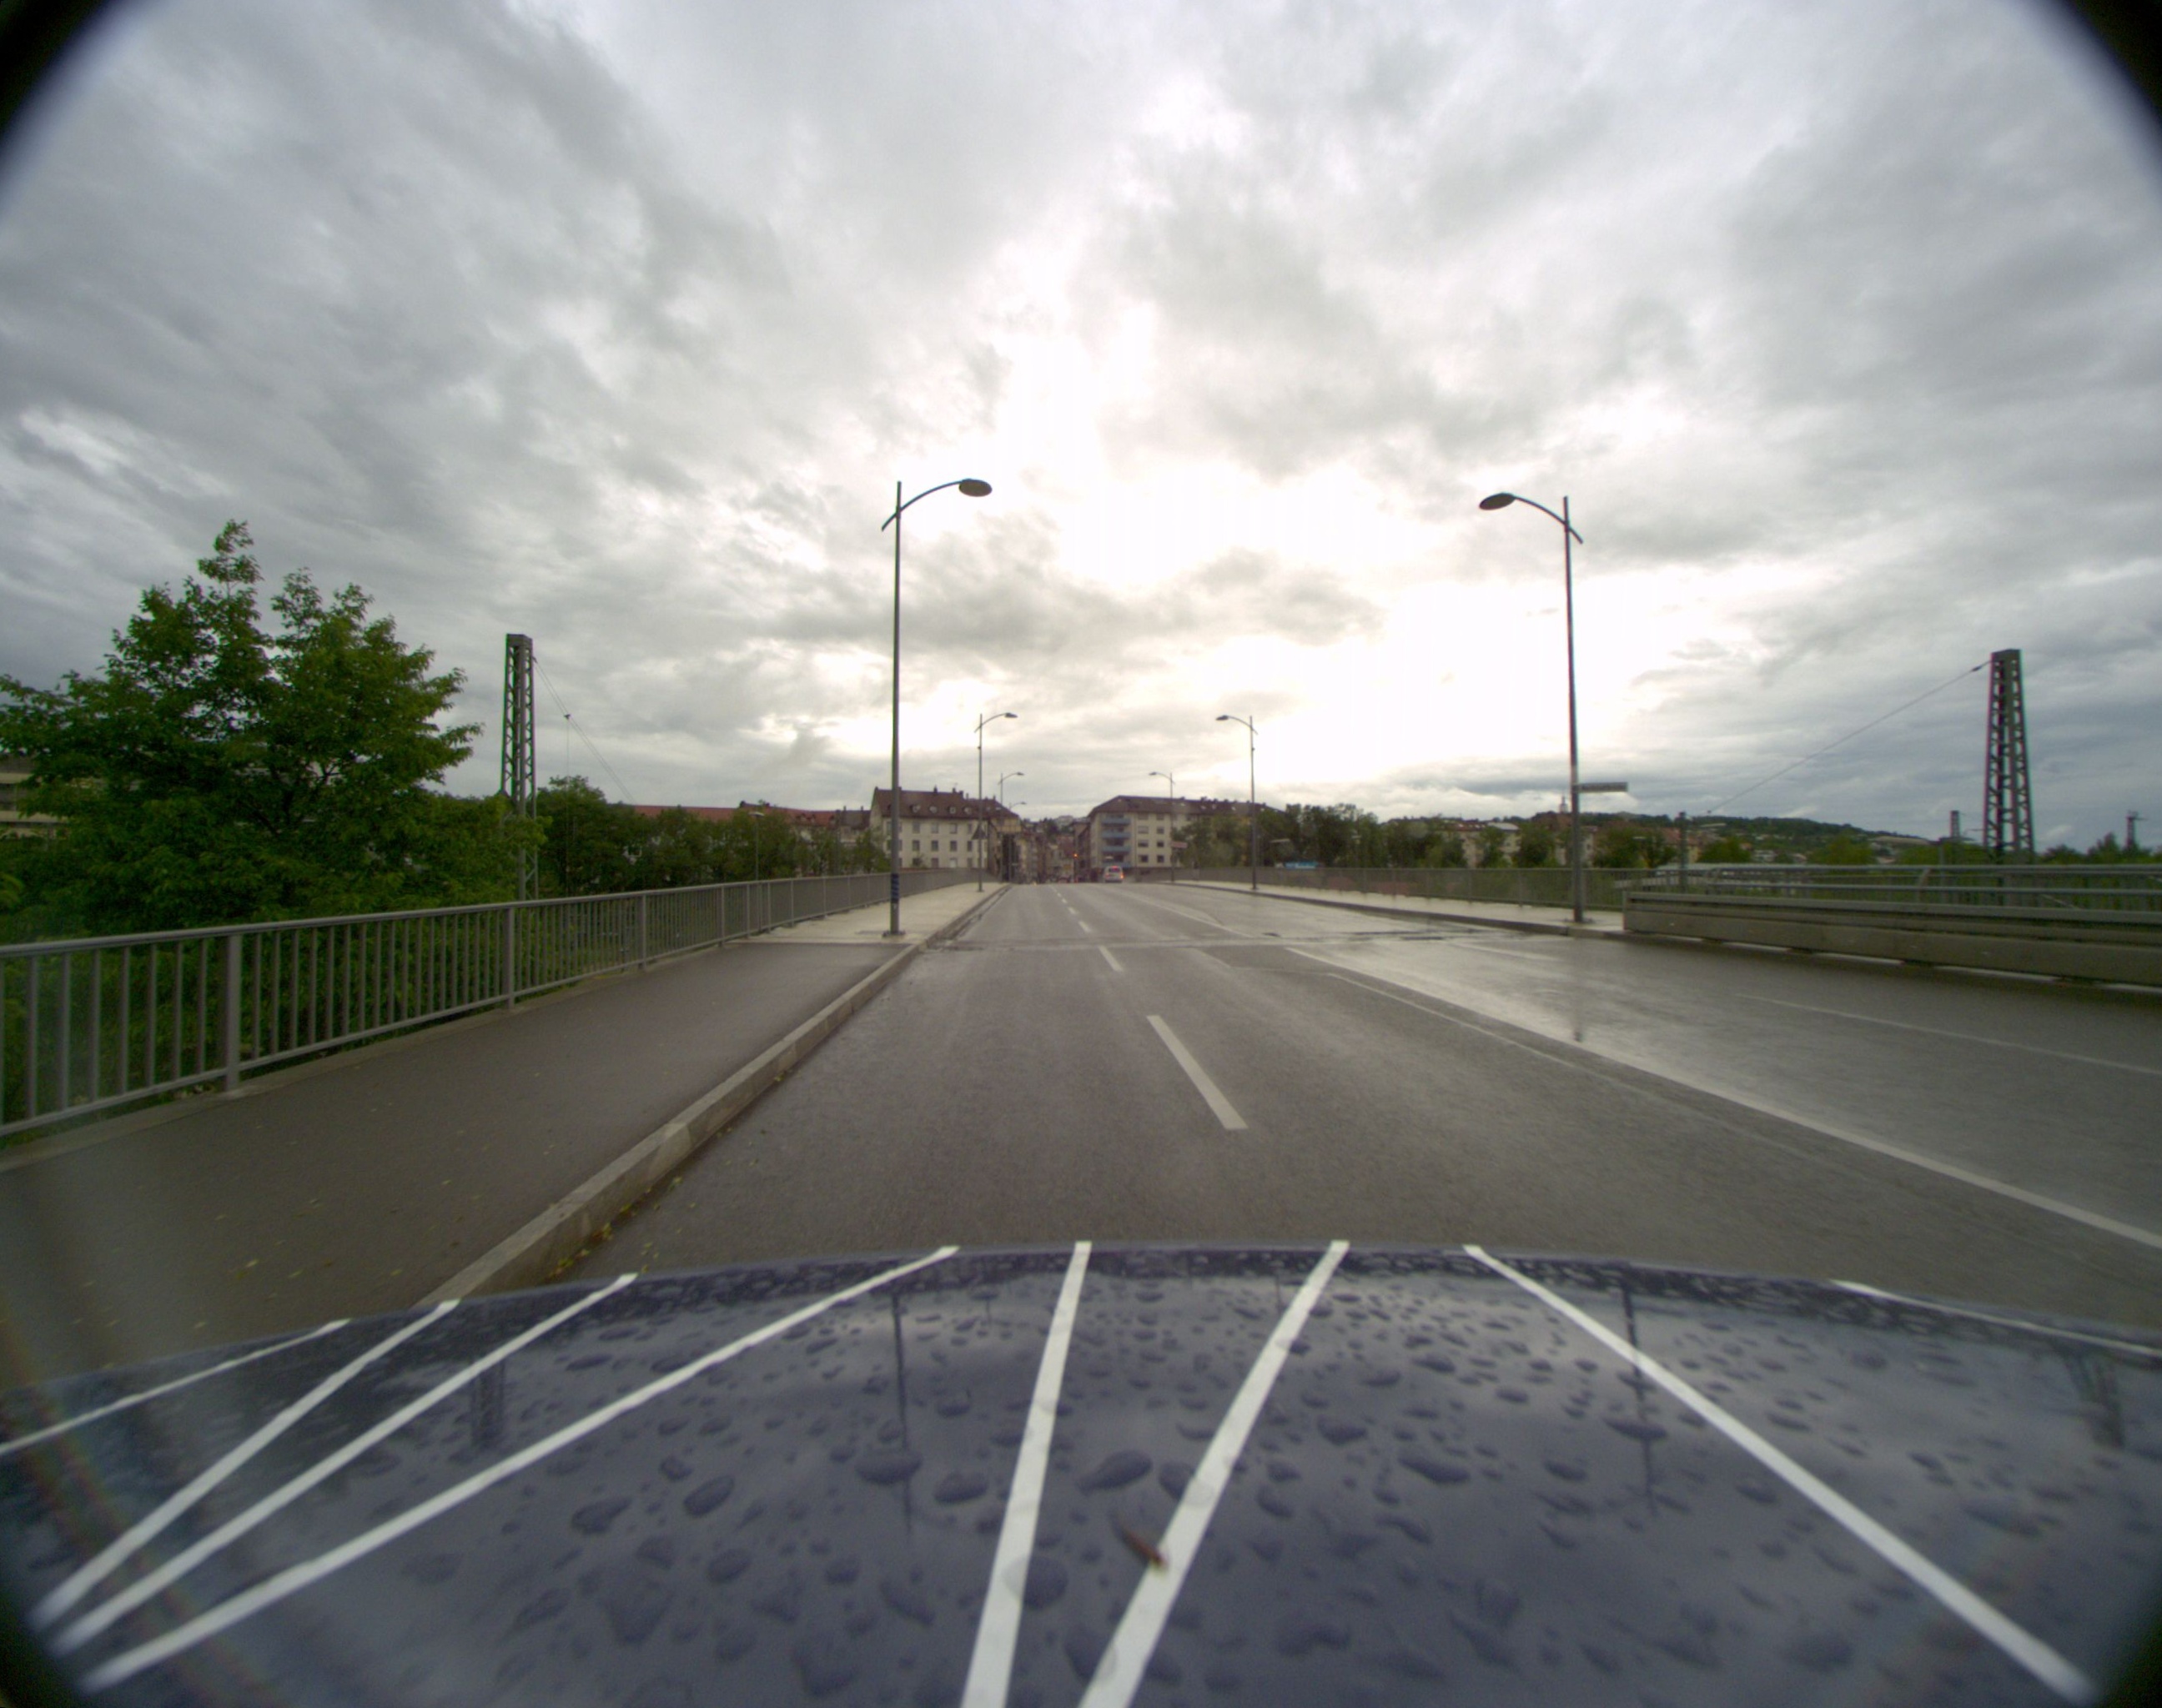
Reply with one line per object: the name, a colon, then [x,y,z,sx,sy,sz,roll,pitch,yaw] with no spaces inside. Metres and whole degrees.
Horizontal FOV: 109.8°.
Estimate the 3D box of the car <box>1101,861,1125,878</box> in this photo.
car: [3.545,1.754,85.760,1.892,1.811,4.956,-3,-1,-6]
